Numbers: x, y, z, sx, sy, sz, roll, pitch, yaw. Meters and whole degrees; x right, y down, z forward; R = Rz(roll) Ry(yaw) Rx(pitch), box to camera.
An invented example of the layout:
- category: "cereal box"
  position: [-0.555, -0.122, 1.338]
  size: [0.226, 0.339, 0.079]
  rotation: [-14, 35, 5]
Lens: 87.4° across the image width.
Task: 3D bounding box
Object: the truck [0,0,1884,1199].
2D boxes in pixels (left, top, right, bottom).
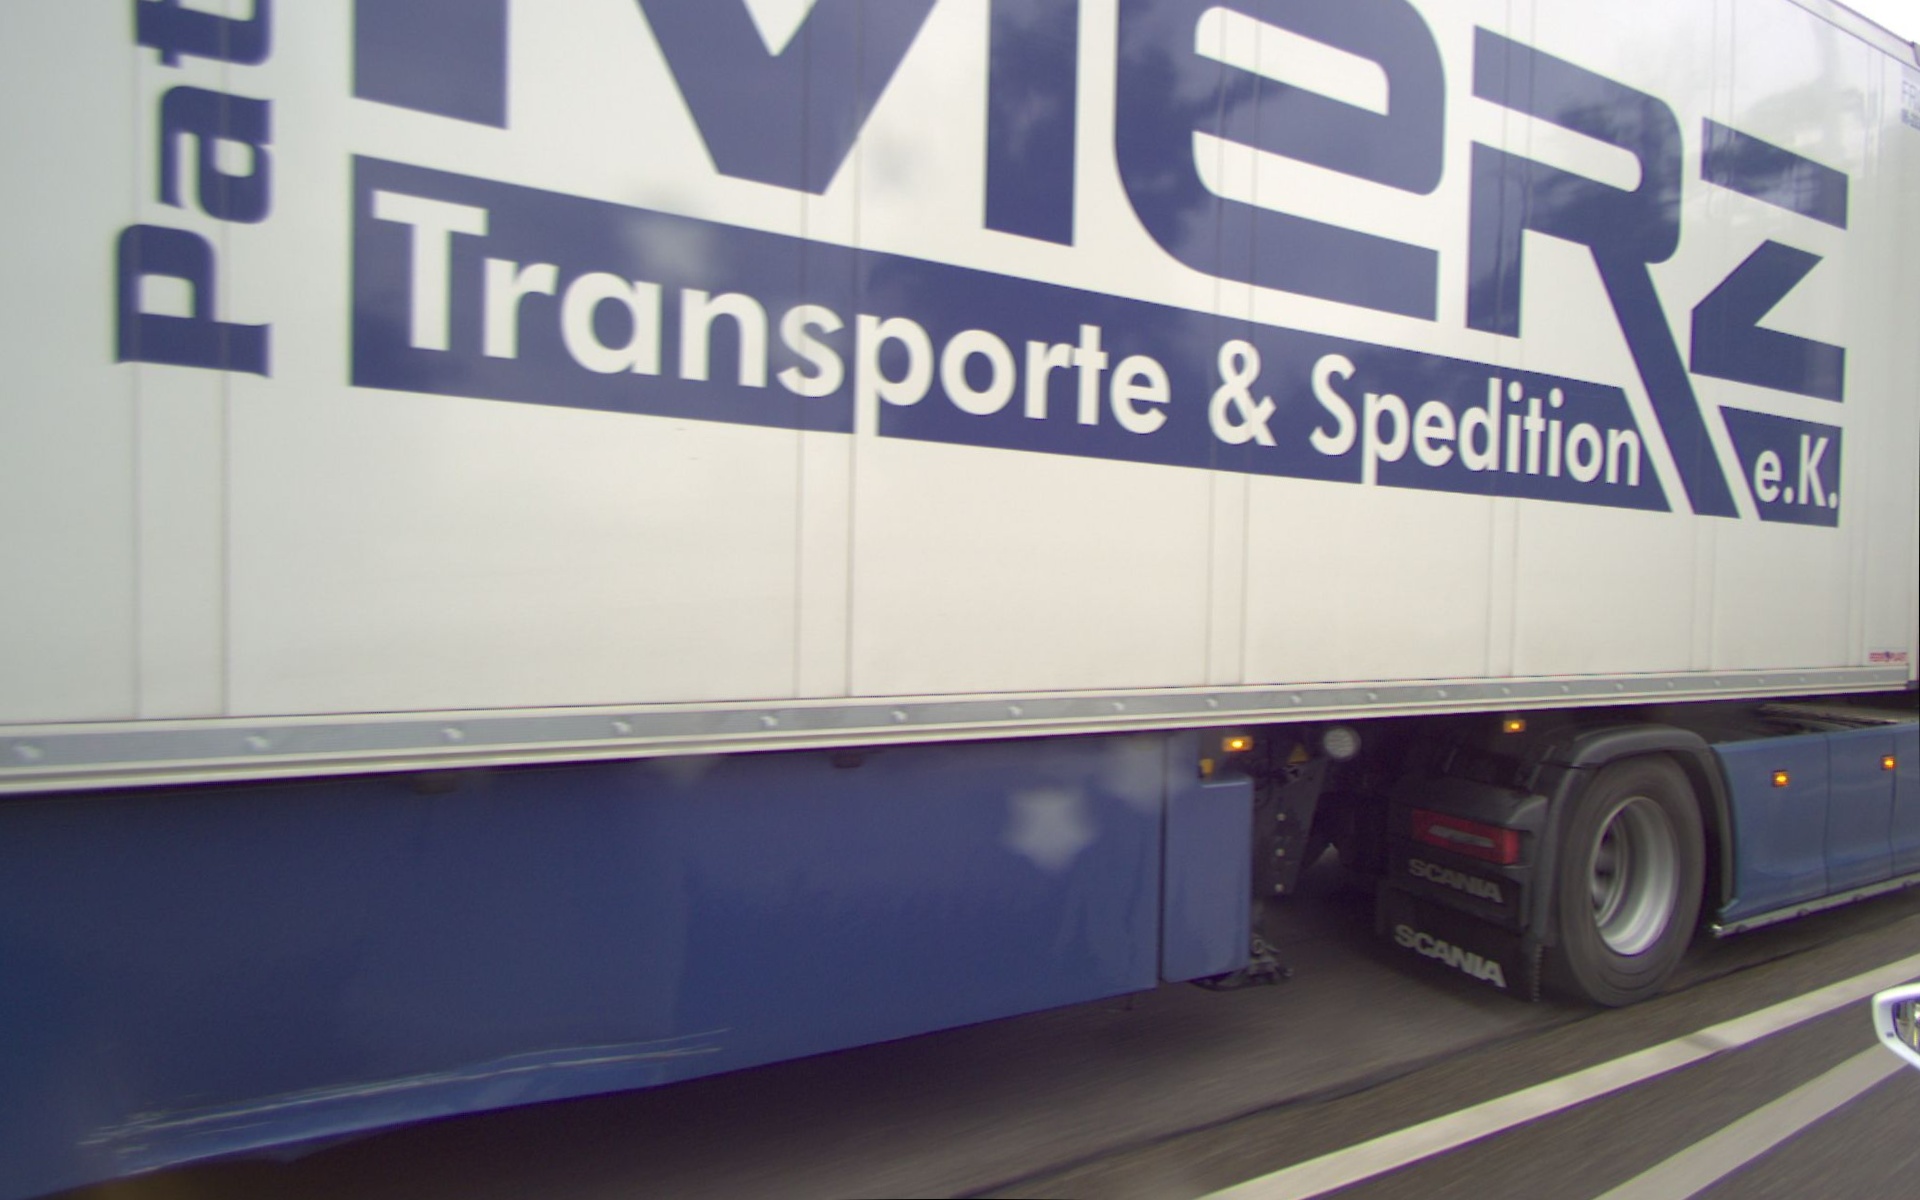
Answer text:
- category: "truck"
  position: [-2.574, -0.645, 2.529]
  size: [12.857, 4.253, 2.753]
  rotation: [1, -1, -26]

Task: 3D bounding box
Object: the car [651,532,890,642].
- category: "car"
  position: [-4.322, -0.252, 22.804]
  size: [5.032, 2.146, 1.991]
  rotation: [3, 0, -20]

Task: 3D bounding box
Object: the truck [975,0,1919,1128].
- category: "truck"
  position: [3.677, -0.552, 5.689]
  size: [6.700, 4.253, 2.751]
  rotation: [1, -1, -28]
